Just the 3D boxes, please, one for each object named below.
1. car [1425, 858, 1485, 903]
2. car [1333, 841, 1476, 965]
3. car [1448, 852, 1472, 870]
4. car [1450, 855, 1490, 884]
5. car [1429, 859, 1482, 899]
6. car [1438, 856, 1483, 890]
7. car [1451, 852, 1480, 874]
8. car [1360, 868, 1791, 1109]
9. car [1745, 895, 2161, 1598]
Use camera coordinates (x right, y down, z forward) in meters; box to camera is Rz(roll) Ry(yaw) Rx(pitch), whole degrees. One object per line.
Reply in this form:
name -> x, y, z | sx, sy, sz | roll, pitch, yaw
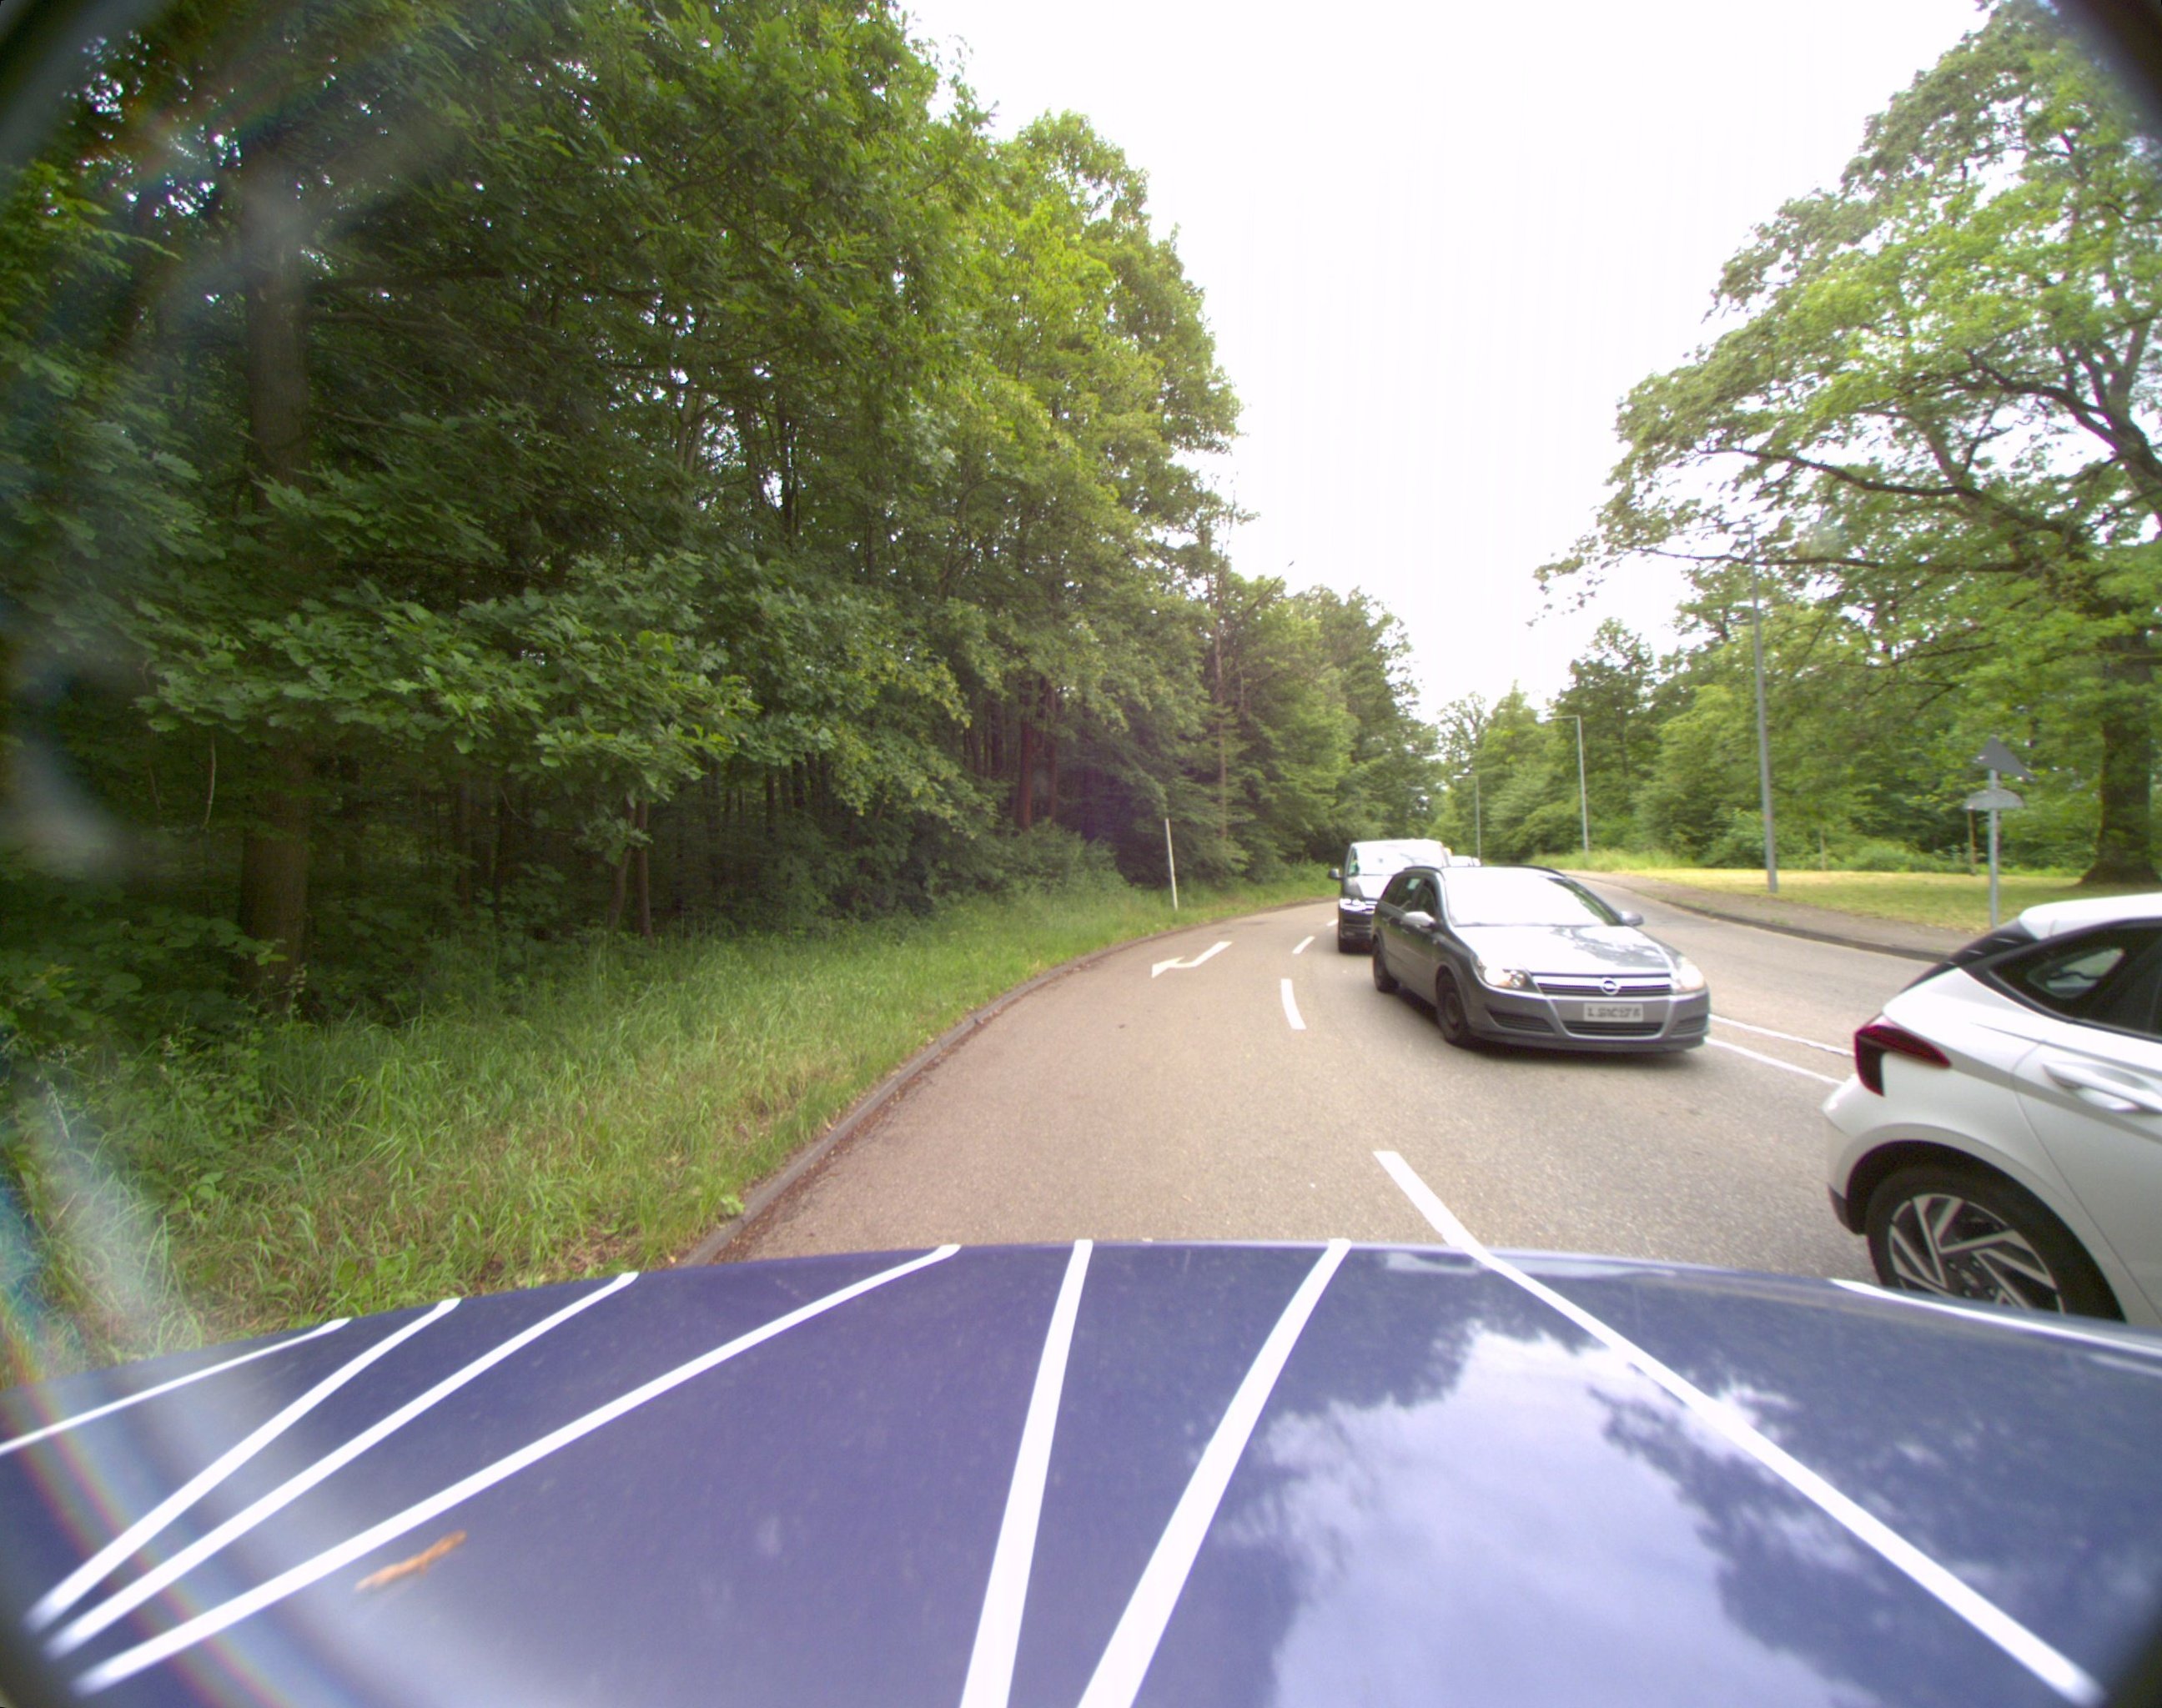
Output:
car -> 13.402, 0.925, 27.350 | 1.775, 1.490, 3.880 | -2, -1, 25
car -> 5.759, 0.769, 13.825 | 1.987, 1.861, 4.539 | -1, -1, 21
car -> 34.164, 0.629, 68.474 | 1.775, 1.490, 3.880 | -2, -1, 28
car -> 20.950, 0.815, 41.025 | 1.775, 1.490, 3.880 | -2, -1, 25
car -> 15.199, 0.991, 30.952 | 1.775, 1.490, 3.880 | -2, -1, 25
car -> 18.015, 0.877, 36.215 | 1.775, 1.490, 3.880 | -2, -1, 25
car -> 27.506, 0.648, 54.309 | 1.775, 1.490, 3.880 | -2, -1, 28
car -> 3.976, 0.907, 7.135 | 1.801, 1.470, 4.474 | -1, -1, 11
car -> 3.137, 0.868, 0.667 | 1.653, 1.470, 4.074 | -1, -1, 3
